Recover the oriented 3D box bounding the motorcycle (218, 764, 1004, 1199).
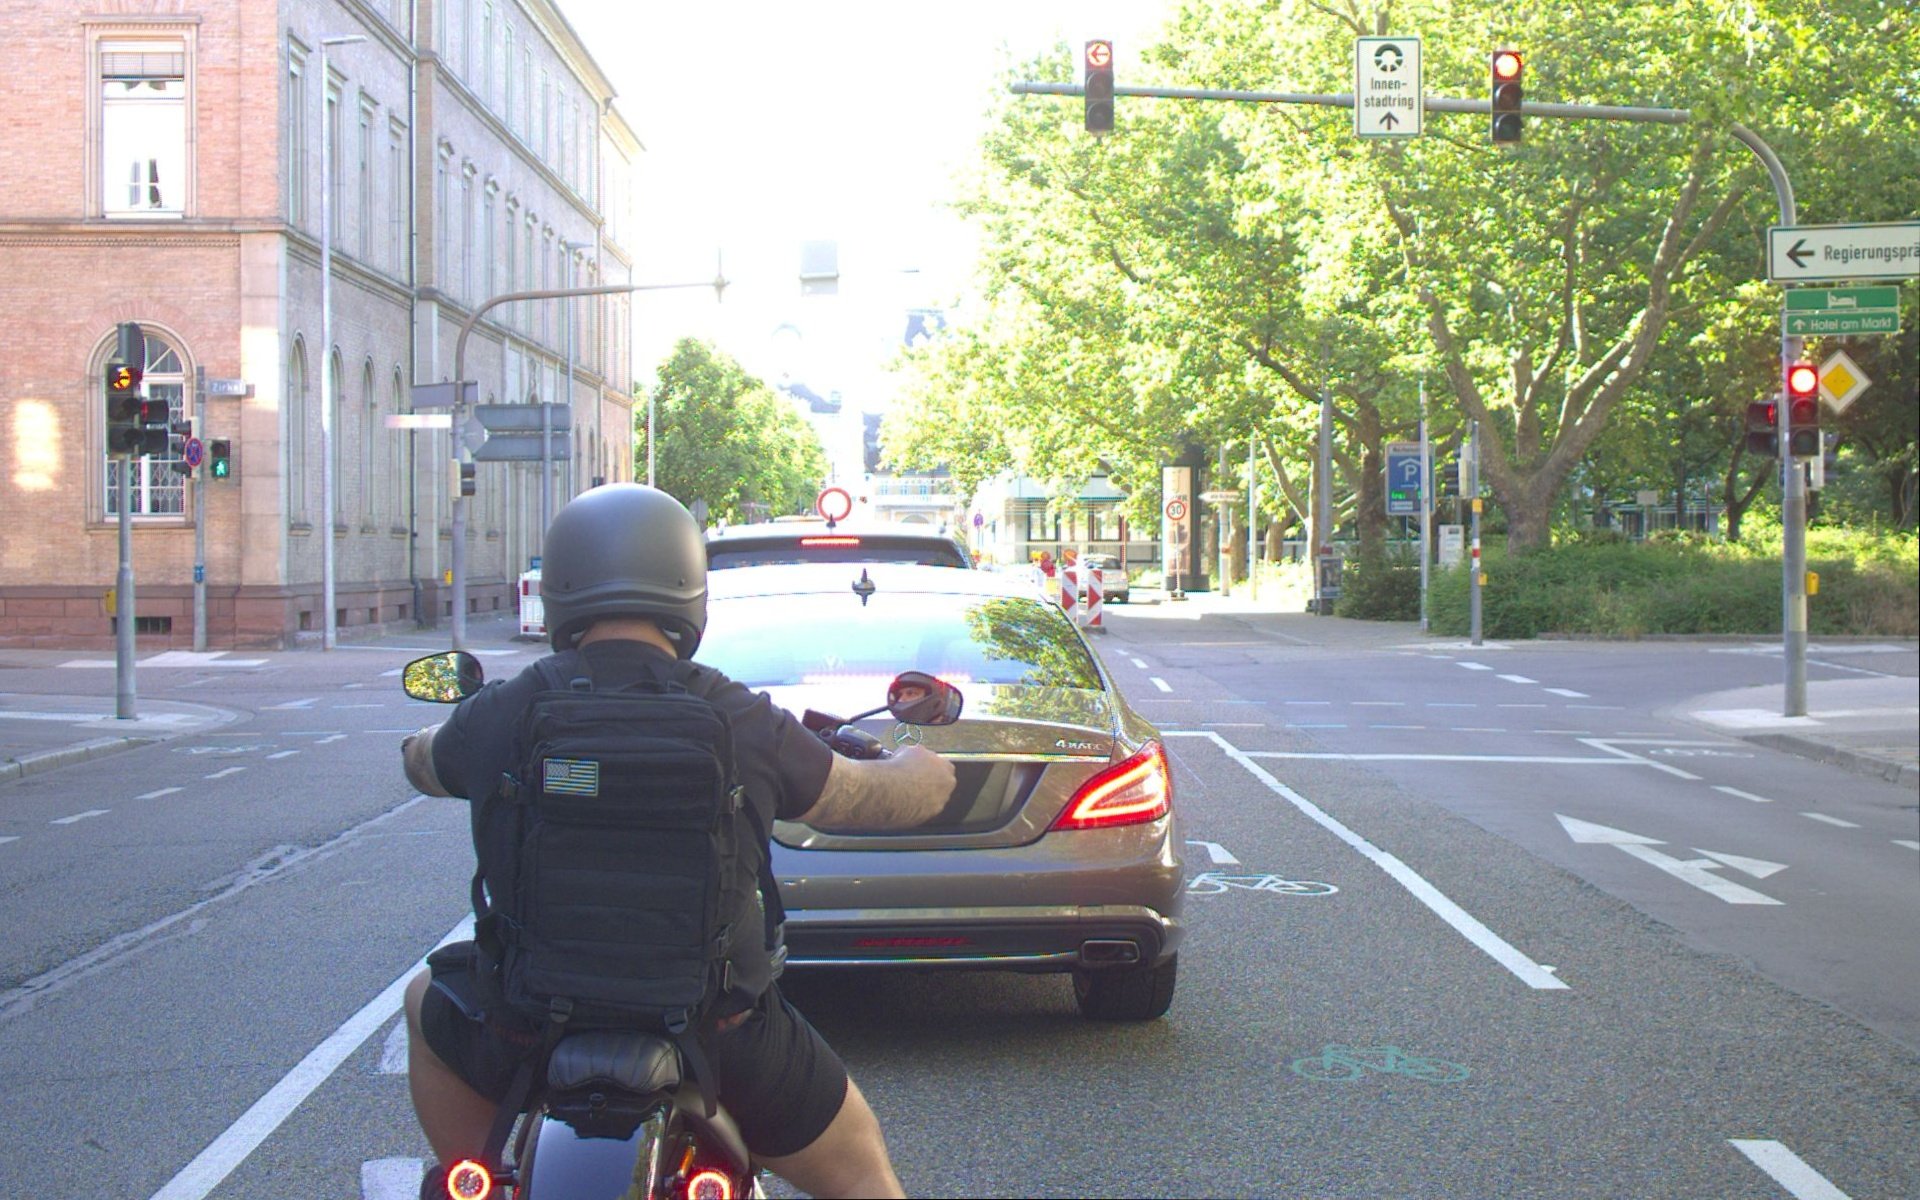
[{"bbox_3d":[-0.453,0.885,5.567,0.989,1.075,2.452,0,1,-1],"label":"motorcycle"}]

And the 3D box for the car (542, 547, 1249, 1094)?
[{"bbox_3d":[-0.429,0.563,11.603,1.945,1.468,4.363,0,1,-7],"label":"car"}]

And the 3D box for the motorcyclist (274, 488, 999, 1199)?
[{"bbox_3d":[-0.450,0.630,5.409,0.989,1.591,1.404,0,1,-1],"label":"motorcyclist"}]

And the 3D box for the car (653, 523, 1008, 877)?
[{"bbox_3d":[-0.635,0.413,17.769,1.612,1.602,4.329,0,1,-1],"label":"car"}]

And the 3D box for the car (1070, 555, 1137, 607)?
[{"bbox_3d":[4.263,-0.587,102.626,1.821,1.475,3.908,-1,1,0],"label":"car"}]
